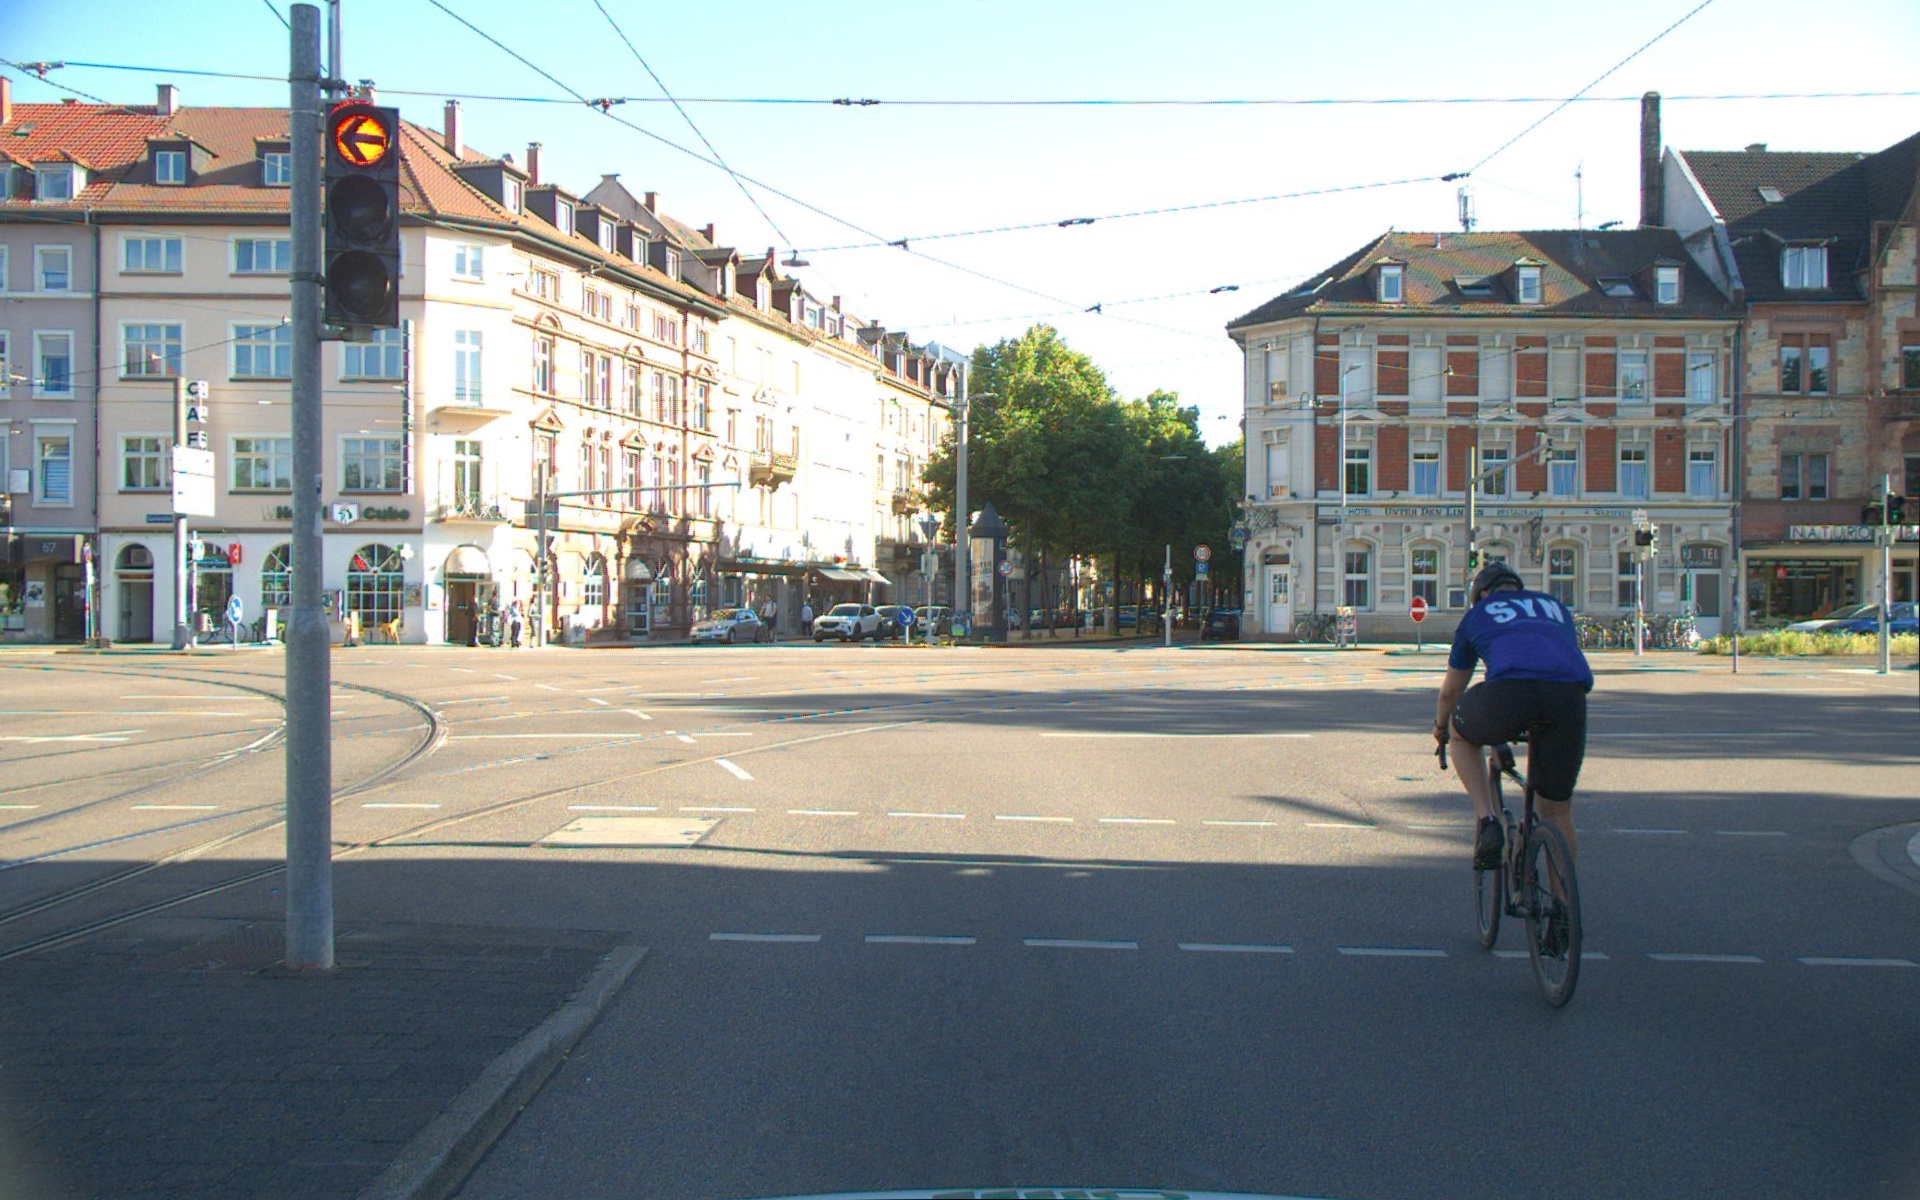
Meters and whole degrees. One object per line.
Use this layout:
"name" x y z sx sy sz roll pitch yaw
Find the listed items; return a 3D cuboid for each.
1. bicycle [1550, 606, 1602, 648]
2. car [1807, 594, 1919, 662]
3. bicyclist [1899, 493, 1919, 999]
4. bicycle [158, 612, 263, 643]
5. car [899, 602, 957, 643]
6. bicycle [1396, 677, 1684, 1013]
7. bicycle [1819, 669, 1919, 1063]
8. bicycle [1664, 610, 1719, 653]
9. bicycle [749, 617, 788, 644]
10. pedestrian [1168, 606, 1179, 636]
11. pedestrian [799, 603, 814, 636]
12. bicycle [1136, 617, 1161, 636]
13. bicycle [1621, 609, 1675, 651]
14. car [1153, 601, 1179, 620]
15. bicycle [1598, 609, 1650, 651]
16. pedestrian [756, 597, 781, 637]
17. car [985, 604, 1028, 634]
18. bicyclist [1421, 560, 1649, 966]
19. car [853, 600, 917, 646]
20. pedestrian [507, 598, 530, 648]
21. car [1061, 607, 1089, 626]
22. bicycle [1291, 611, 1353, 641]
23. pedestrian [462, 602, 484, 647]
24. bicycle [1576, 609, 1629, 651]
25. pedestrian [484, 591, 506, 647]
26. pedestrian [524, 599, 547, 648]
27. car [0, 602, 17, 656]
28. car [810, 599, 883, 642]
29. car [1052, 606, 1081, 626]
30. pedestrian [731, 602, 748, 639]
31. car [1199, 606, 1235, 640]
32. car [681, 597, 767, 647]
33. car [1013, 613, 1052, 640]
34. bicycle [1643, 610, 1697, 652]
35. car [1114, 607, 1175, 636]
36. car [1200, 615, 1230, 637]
"bicycle" 19.761 0.842 53.106 0.678 1.309 2.661 1 0 0
"car" 25.938 0.787 46.039 3.706 1.809 1.999 1 0 -2
"bicyclist" 3.513 0.475 5.024 0.789 1.634 0.883 1 -1 -3
"bicycle" -25.510 0.943 56.343 3.066 0.997 1.001 1 0 -1
"car" -1.506 1.071 79.754 1.951 1.937 4.003 1 0 11
"bicycle" 2.278 0.906 6.709 0.613 1.104 1.703 1 0 2
"bicycle" 3.510 0.882 5.138 0.740 1.258 1.702 1 0 -2
"bicycle" 23.489 0.993 53.163 0.615 1.309 2.661 1 0 0
"bicycle" -7.522 1.208 65.149 0.746 1.025 2.398 1 0 13
"pedestrian" 13.114 1.273 101.445 0.626 1.827 0.491 1 -1 12
"pedestrian" -7.688 0.976 82.976 0.532 1.660 0.707 1 -1 13
"bicycle" 11.291 1.575 99.213 0.619 1.104 1.685 1 0 -31
"bicycle" 22.091 0.958 53.141 0.615 1.309 2.661 1 0 0
"car" 16.814 0.840 134.885 1.526 1.540 3.658 1 0 16
"bicycle" 21.313 0.952 53.138 0.615 1.309 2.661 1 0 0
"pedestrian" -7.534 0.668 65.078 0.803 1.539 0.598 1 -1 14
"car" 3.190 1.292 112.727 1.951 1.937 4.002 1 0 16
"bicyclist" 2.291 0.605 6.685 0.625 1.520 0.884 1 1 3
"car" -3.304 1.013 73.549 1.951 1.937 4.003 1 0 11
"pedestrian" -14.853 0.760 55.662 0.620 1.662 0.700 1 -1 -4
"car" 9.516 1.335 136.317 1.526 1.540 3.658 1 0 16
"bicycle" 12.524 0.898 57.256 2.006 1.015 0.631 0 -1 2
"pedestrian" -16.458 0.835 55.910 0.620 1.502 0.465 1 -1 -5
"bicycle" 20.602 0.939 53.117 0.678 1.309 2.661 1 0 0
"pedestrian" -15.960 0.644 56.761 0.620 1.914 0.465 1 -1 -5
"pedestrian" -14.621 0.791 56.922 0.620 1.662 0.700 1 -1 -4
"car" -32.379 0.915 52.421 3.902 1.699 2.002 0 0 8
"car" -4.577 0.830 67.075 1.951 1.646 4.003 1 0 11
"car" 8.545 1.288 132.323 1.526 1.540 3.658 1 0 16
"pedestrian" -10.067 0.932 75.373 0.532 1.660 0.707 1 -1 13
"car" 12.876 1.135 82.766 1.655 1.592 3.844 1 0 11
"car" -9.514 0.879 66.956 1.951 1.937 4.002 1 0 17
"car" 5.390 1.926 122.768 1.951 1.937 4.002 1 0 16
"bicycle" 22.805 0.977 53.165 0.615 1.309 2.661 1 0 0
"car" 12.860 1.469 115.142 3.902 1.937 2.001 1 0 15
"car" 16.422 1.666 106.424 1.716 1.386 3.859 1 0 12
